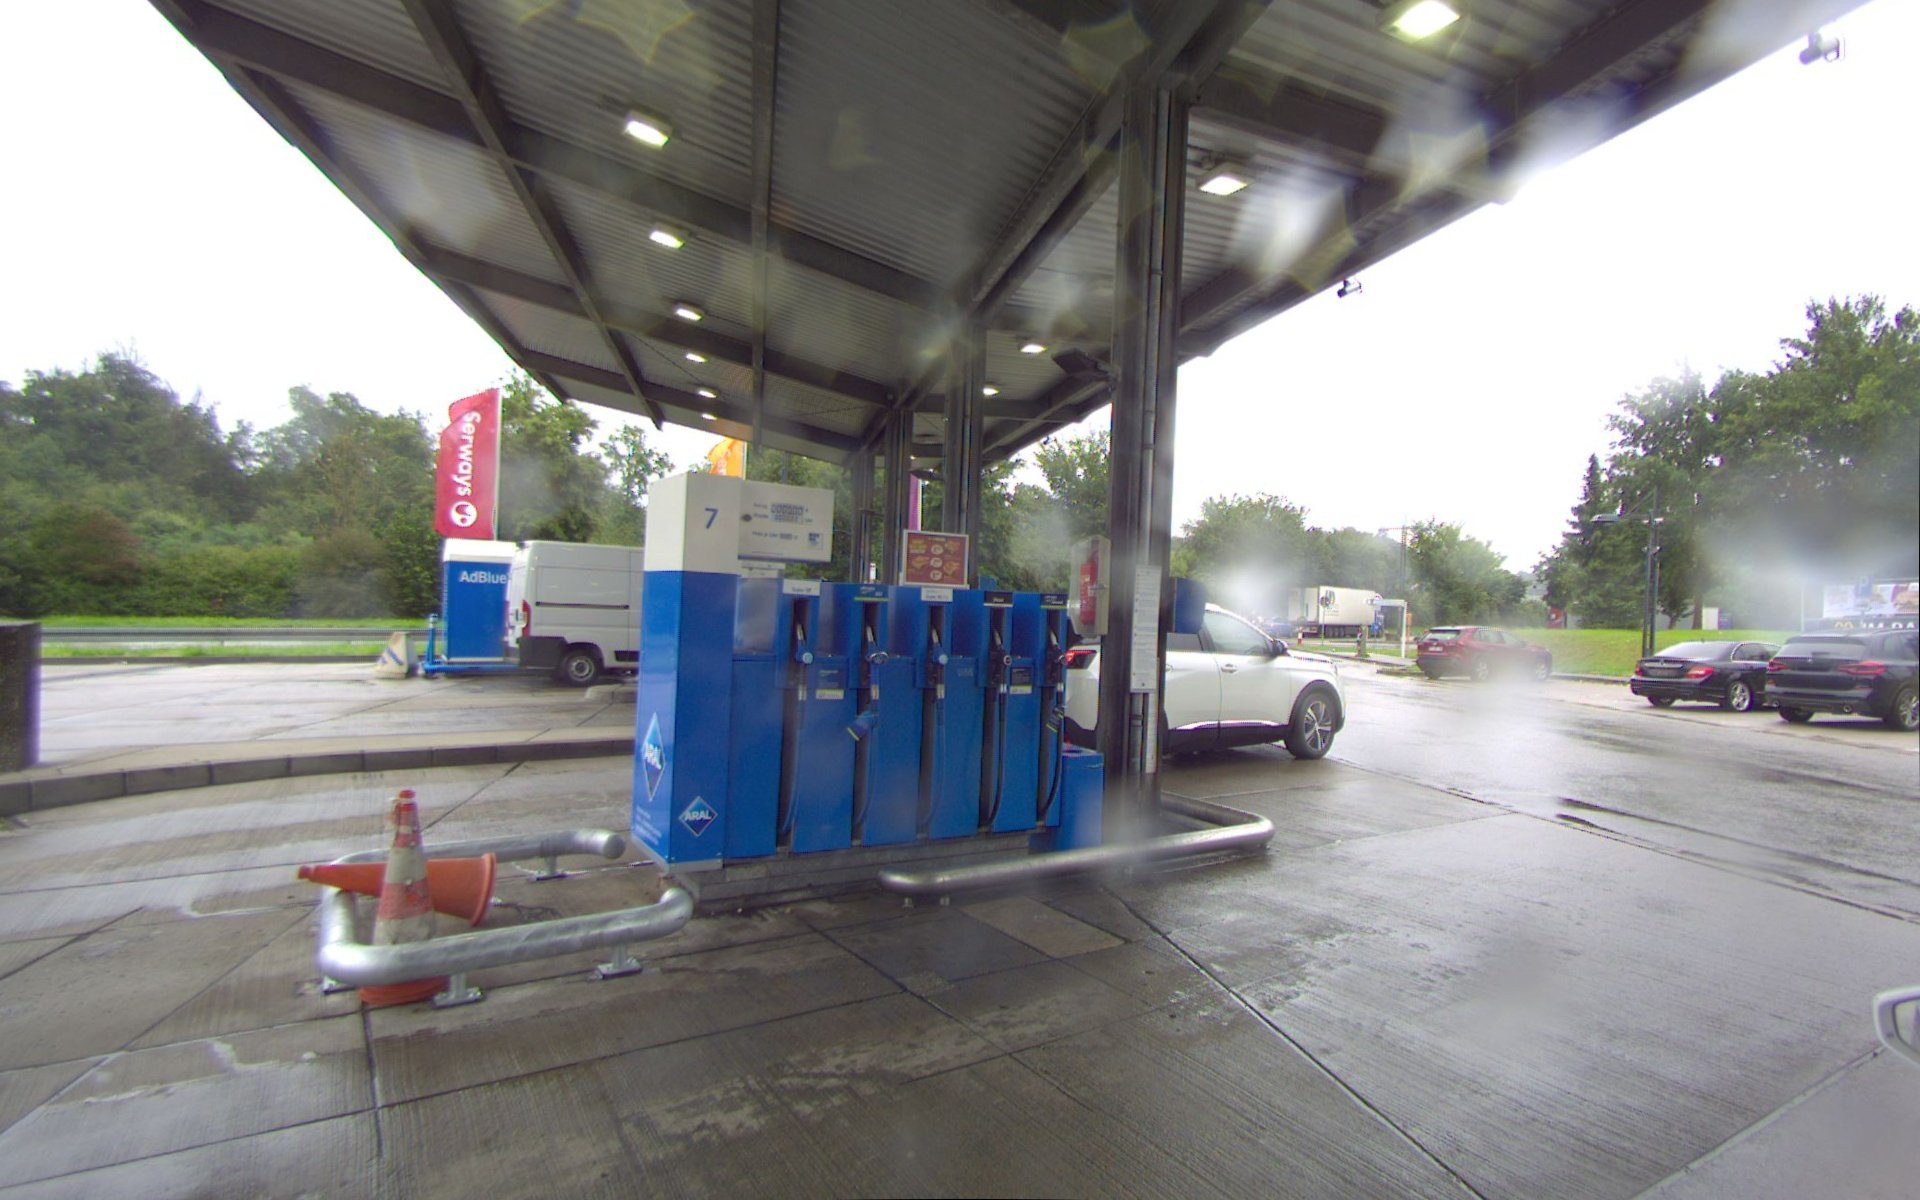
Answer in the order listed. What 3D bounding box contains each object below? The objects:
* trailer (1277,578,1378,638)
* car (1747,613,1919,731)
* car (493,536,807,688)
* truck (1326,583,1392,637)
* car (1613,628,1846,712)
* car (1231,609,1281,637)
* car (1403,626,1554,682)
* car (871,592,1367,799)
[{"bbox_3d":[30.911,0.740,83.867,3.416,4.618,13.847,2,0,40],"label":"trailer"},{"bbox_3d":[16.152,1.186,17.414,4.344,1.852,1.883,1,-1,-19],"label":"car"},{"bbox_3d":[-5.768,0.262,18.959,5.227,2.496,2.306,1,-1,-34],"label":"car"},{"bbox_3d":[35.583,0.910,89.471,3.416,4.618,6.704,2,0,40],"label":"truck"},{"bbox_3d":[15.939,1.414,20.834,4.119,1.585,1.883,1,-1,-19],"label":"car"},{"bbox_3d":[20.916,1.632,70.856,1.903,1.862,4.373,1,0,38],"label":"car"},{"bbox_3d":[16.001,1.640,30.980,4.294,1.617,1.879,1,-1,-24],"label":"car"},{"bbox_3d":[1.733,0.785,9.905,4.953,1.586,1.802,1,0,-35],"label":"car"}]
